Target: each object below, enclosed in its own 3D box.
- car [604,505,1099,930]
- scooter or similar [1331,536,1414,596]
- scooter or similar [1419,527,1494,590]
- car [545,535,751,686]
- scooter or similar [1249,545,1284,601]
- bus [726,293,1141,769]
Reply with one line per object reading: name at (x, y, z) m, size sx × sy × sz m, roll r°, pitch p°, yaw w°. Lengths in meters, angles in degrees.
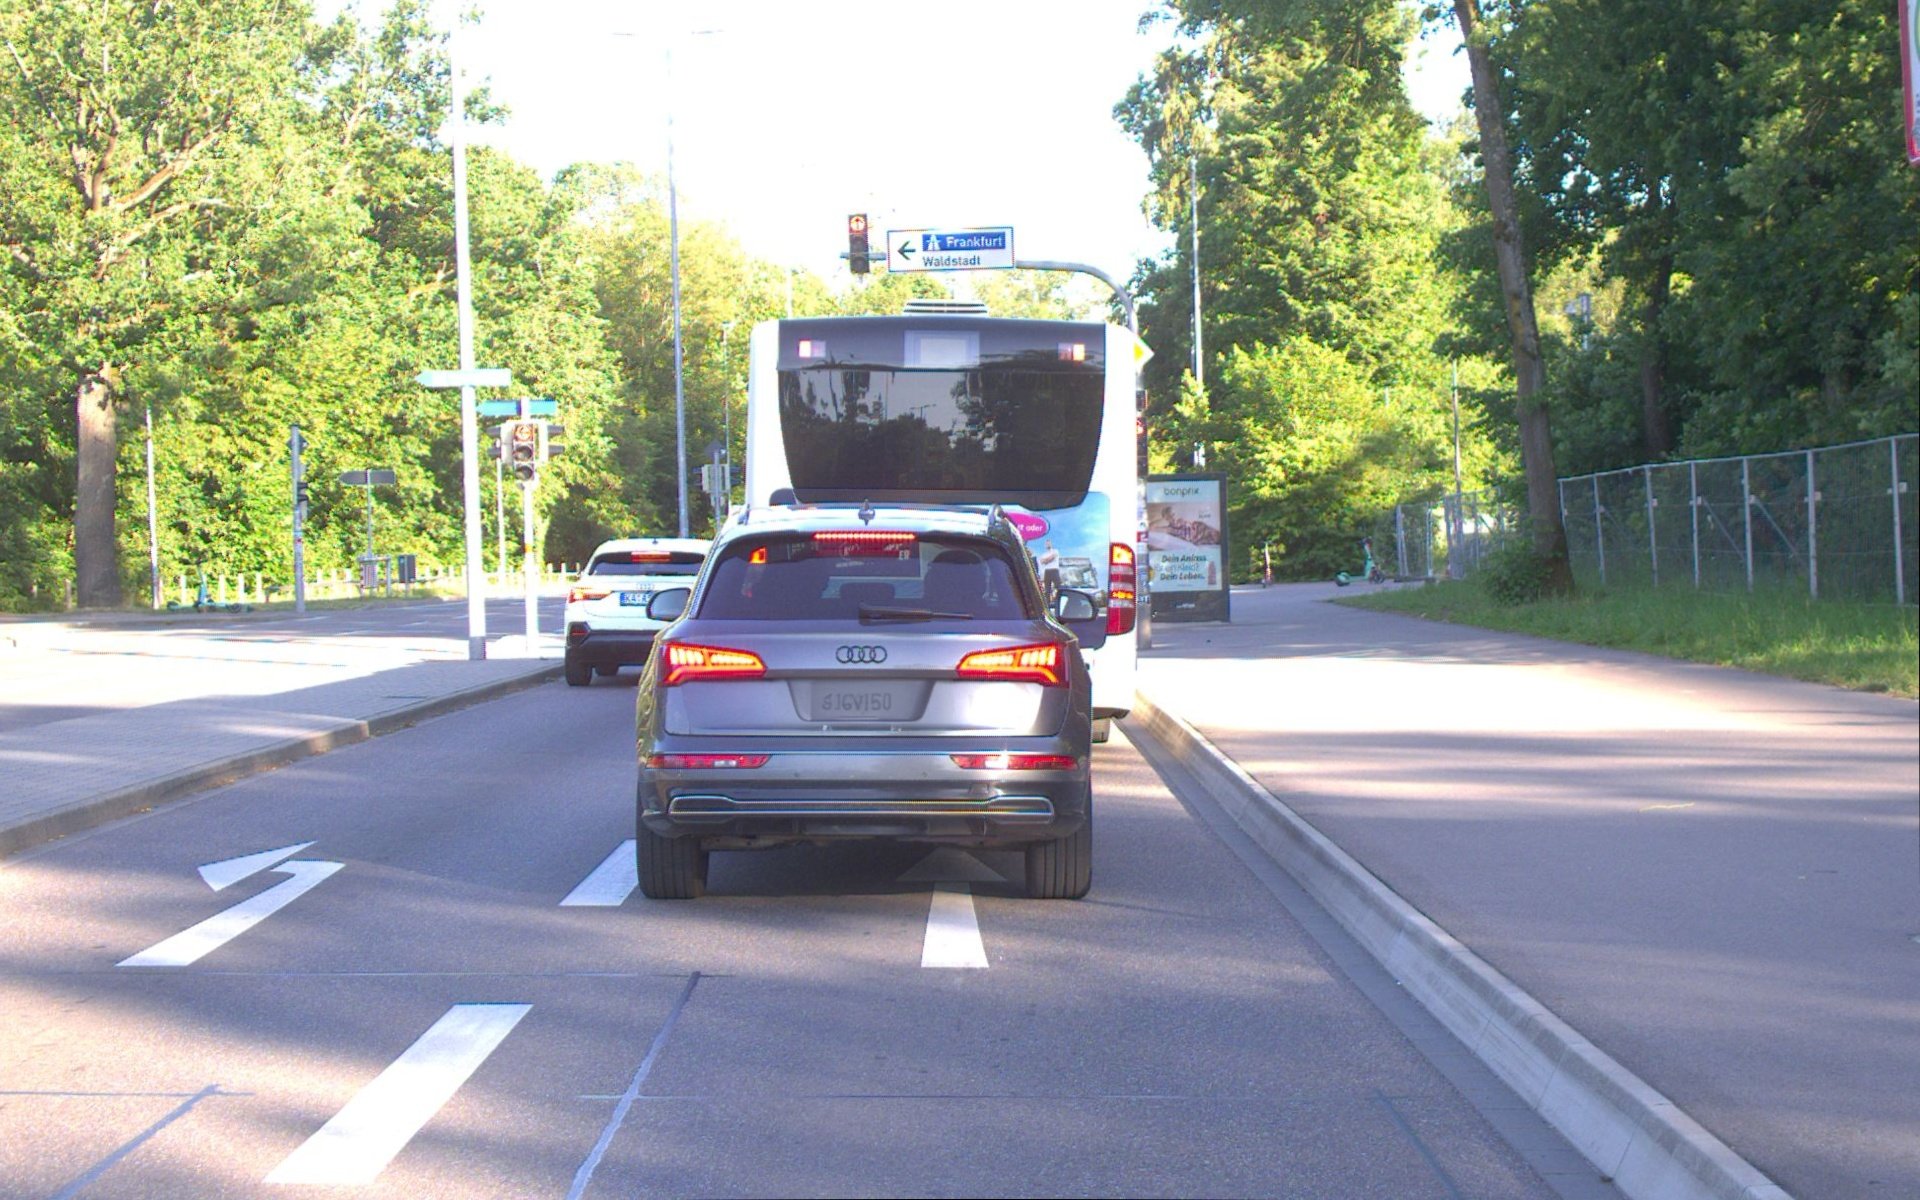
car at (-0.422, 0.415, 15.244) m, size 1.898 × 1.626 × 4.000 m, roll 0°, pitch 1°, yaw 0°
scooter or similar at (10.509, -0.870, 87.541) m, size 2.015 × 1.439 × 0.606 m, roll -2°, pitch 1°, yaw -24°
scooter or similar at (12.818, -1.065, 88.805) m, size 0.539 × 1.562 × 2.022 m, roll -3°, pitch 1°, yaw -39°
car at (-3.305, 0.074, 37.055) m, size 1.836 × 1.513 × 4.000 m, roll -1°, pitch 1°, yaw 0°
scooter or similar at (8.024, -0.719, 90.111) m, size 0.508 × 1.439 × 2.023 m, roll -2°, pitch 1°, yaw -5°
bus at (-0.175, -0.475, 26.205) m, size 2.594 × 2.978 × 9.327 m, roll 0°, pitch 0°, yaw 0°
